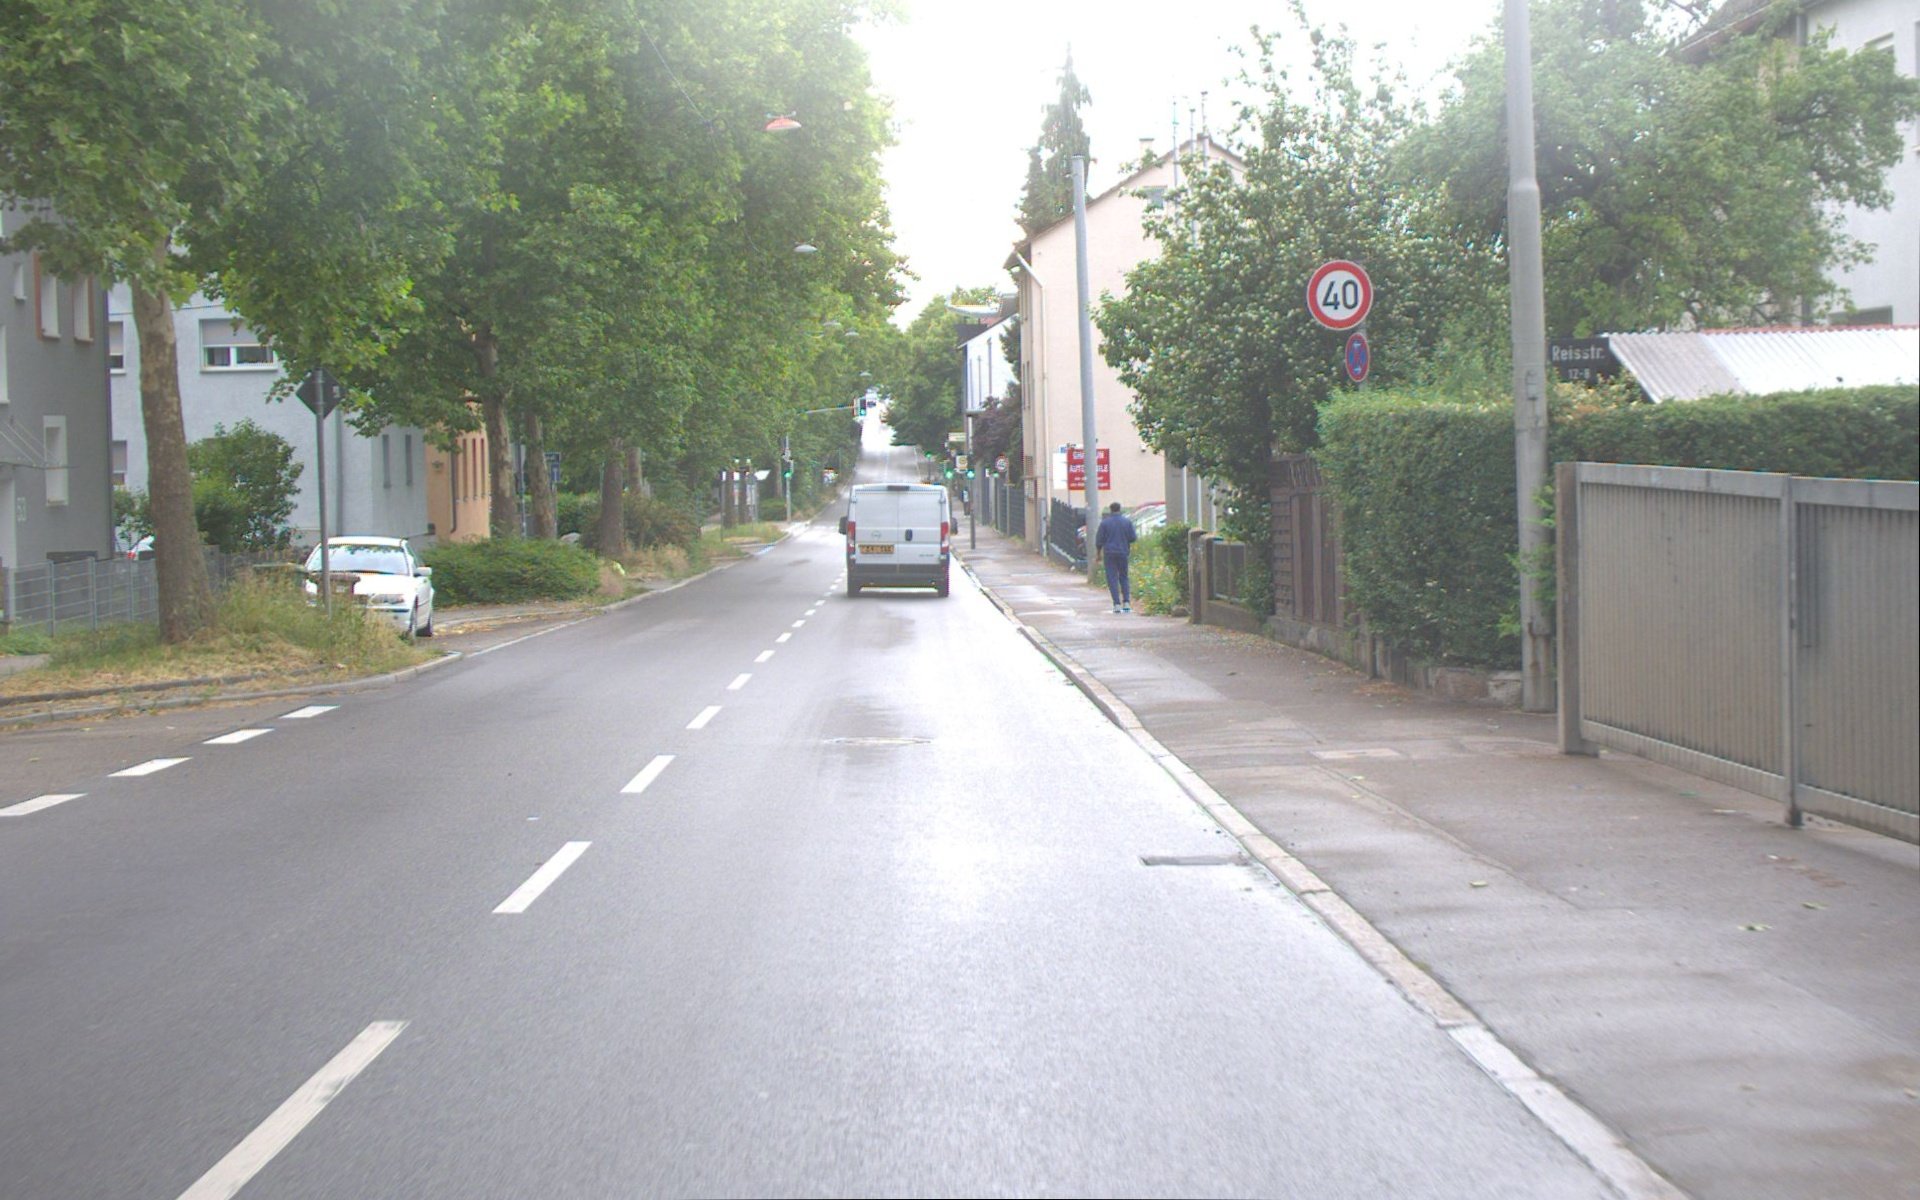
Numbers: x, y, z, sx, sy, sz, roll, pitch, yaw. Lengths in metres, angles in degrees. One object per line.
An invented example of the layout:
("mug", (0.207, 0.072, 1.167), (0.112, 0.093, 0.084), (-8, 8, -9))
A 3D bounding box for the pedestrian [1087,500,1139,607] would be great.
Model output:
("pedestrian", (2.446, -0.744, 54.984), (0.816, 1.692, 0.729), (0, 1, 3))

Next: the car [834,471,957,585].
("car", (-1.346, -1.492, 69.455), (2.346, 2.152, 4.778), (-1, 3, -2))

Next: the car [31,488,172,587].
("car", (-17.263, -1.285, 69.259), (1.875, 1.888, 4.001), (-1, 2, -1))

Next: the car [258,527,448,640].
("car", (-8.199, -0.257, 46.766), (1.993, 1.447, 4.211), (-1, 1, -3))

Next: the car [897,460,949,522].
("car", (-1.469, -4.258, 135.037), (1.993, 2.390, 4.000), (-1, 1, -1))
